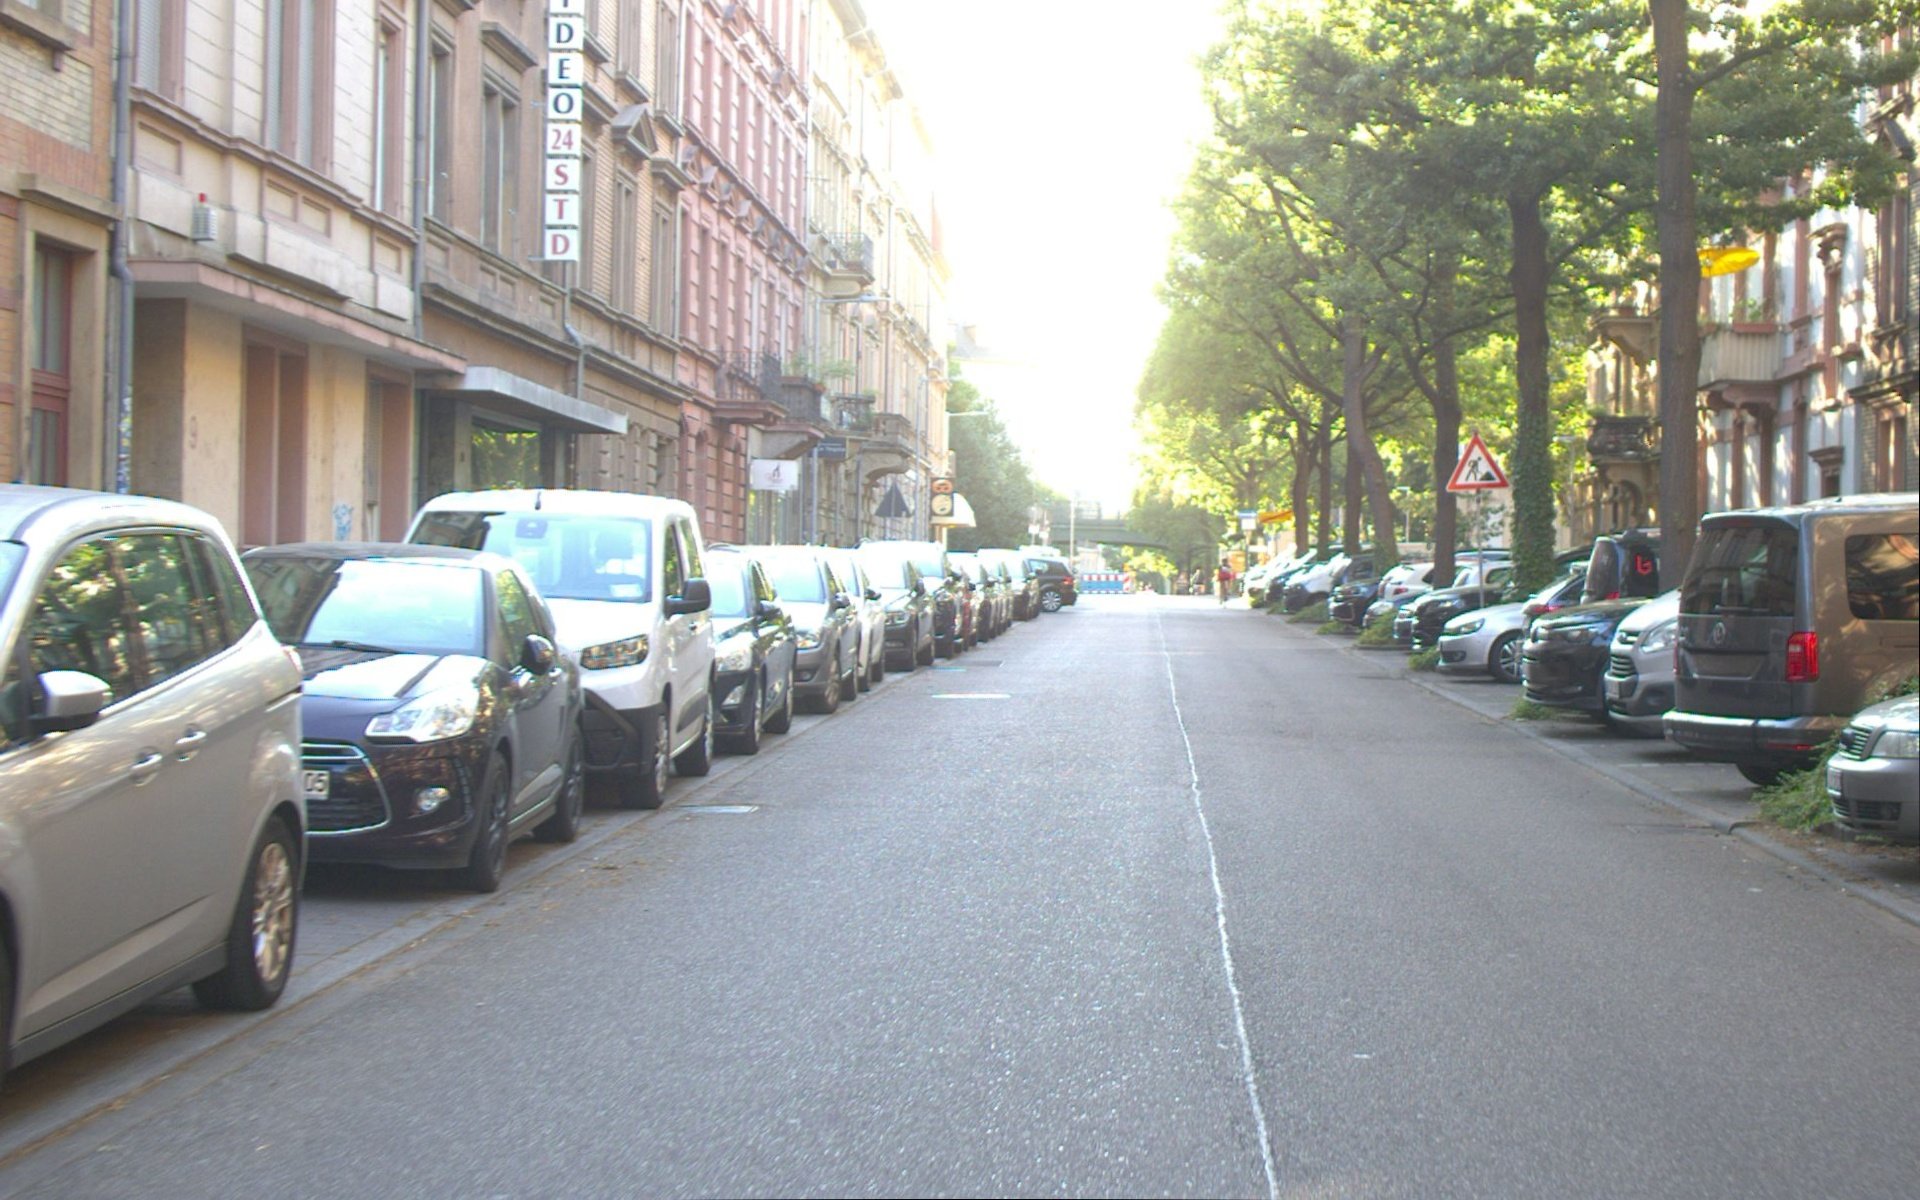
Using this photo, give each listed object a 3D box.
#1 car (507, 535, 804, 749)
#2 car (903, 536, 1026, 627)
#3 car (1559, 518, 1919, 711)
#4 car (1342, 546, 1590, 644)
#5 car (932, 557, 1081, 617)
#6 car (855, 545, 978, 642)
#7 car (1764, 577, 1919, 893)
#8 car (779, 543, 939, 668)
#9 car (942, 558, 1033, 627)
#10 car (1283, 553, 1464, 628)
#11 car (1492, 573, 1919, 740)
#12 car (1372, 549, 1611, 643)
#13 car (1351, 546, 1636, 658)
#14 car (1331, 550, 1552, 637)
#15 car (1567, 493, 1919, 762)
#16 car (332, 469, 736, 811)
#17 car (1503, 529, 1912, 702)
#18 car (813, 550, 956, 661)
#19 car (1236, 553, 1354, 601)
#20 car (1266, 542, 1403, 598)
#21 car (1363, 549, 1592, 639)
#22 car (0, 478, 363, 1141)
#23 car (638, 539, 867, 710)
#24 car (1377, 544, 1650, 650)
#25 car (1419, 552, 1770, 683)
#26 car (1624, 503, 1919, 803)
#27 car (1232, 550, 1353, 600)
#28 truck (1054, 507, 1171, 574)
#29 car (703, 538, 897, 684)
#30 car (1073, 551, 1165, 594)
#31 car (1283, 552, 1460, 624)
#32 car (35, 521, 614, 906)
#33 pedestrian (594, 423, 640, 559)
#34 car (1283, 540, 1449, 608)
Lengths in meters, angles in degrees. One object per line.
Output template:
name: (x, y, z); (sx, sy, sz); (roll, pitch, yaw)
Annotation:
car: (-2.213, 0.263, 25.959); (1.758, 1.468, 4.059); (1, 1, 2)
car: (0.116, -0.295, 60.380); (1.994, 1.481, 3.999); (1, -1, 2)
car: (7.919, 0.121, 33.446); (3.850, 1.791, 1.718); (-1, 1, 0)
car: (8.542, -0.096, 58.264); (3.849, 1.568, 1.718); (-1, 1, -5)
car: (1.247, -0.327, 90.831); (1.997, 1.481, 3.991); (0, -1, 36)
car: (-0.650, -0.129, 54.392); (1.758, 1.468, 4.059); (1, 1, 2)
car: (6.195, 0.578, 16.477); (4.220, 1.398, 1.835); (-1, 1, -1)
car: (-1.226, 0.033, 43.151); (1.758, 1.468, 4.059); (1, 1, 2)
car: (0.668, -0.154, 80.093); (1.994, 1.481, 3.999); (1, -1, 2)
car: (9.121, -0.216, 76.023); (3.850, 1.568, 1.718); (-1, 1, 3)
car: (6.507, 0.449, 28.713); (3.850, 1.289, 1.718); (-1, 1, 0)
car: (9.350, -0.077, 60.625); (3.849, 1.568, 1.718); (-1, 1, -5)
car: (7.877, 0.020, 50.956); (3.849, 1.568, 1.718); (-1, 1, -5)
car: (9.127, -0.131, 65.291); (3.849, 1.568, 1.718); (-1, 1, -5)
car: (7.228, 0.169, 25.802); (5.057, 1.919, 1.835); (-1, 1, 3)
car: (-2.462, 0.182, 20.923); (1.758, 1.835, 4.529); (1, 1, 2)
car: (7.718, 0.143, 35.726); (3.850, 1.694, 1.718); (-1, 1, 0)
car: (-1.011, 0.044, 47.912); (1.758, 1.468, 4.059); (1, 1, 2)
car: (11.273, -0.779, 115.762); (3.850, 1.568, 1.718); (-1, 1, 3)
car: (10.916, -0.867, 100.293); (3.850, 1.568, 1.718); (-1, 1, 3)
car: (9.499, -0.124, 63.231); (3.849, 1.568, 1.718); (-1, 1, -5)
car: (-3.080, 0.454, 9.442); (1.754, 1.603, 4.383); (3, 1, 4)
car: (-1.865, 0.181, 32.050); (1.758, 1.468, 4.059); (1, 1, 2)
car: (8.558, -0.057, 53.326); (3.849, 1.568, 1.718); (-1, 1, -5)
car: (7.528, 0.190, 41.003); (3.850, 1.474, 1.718); (-1, 1, 0)
car: (6.615, 0.275, 22.097); (4.219, 1.789, 1.836); (-1, 1, -16)
car: (10.942, -0.829, 113.313); (3.850, 1.568, 1.718); (-1, 1, 3)
truck: (9.824, -3.809, 221.045); (7.222, 3.936, 2.437); (3, 1, -33)
car: (-1.662, 0.080, 36.915); (1.758, 1.468, 4.059); (1, 1, 2)
car: (7.360, -1.289, 159.432); (3.989, 1.853, 1.750); (2, 1, 11)
car: (9.340, -0.283, 78.149); (3.850, 1.568, 1.718); (-1, 1, 3)
car: (-2.771, 0.427, 15.878); (1.758, 1.462, 4.000); (3, 1, 2)
pedestrian: (-4.718, -1.496, 47.305); (0.499, 1.855, 0.463); (2, 1, 3)
car: (9.782, -0.632, 83.023); (3.850, 1.568, 1.718); (-1, 1, 3)
